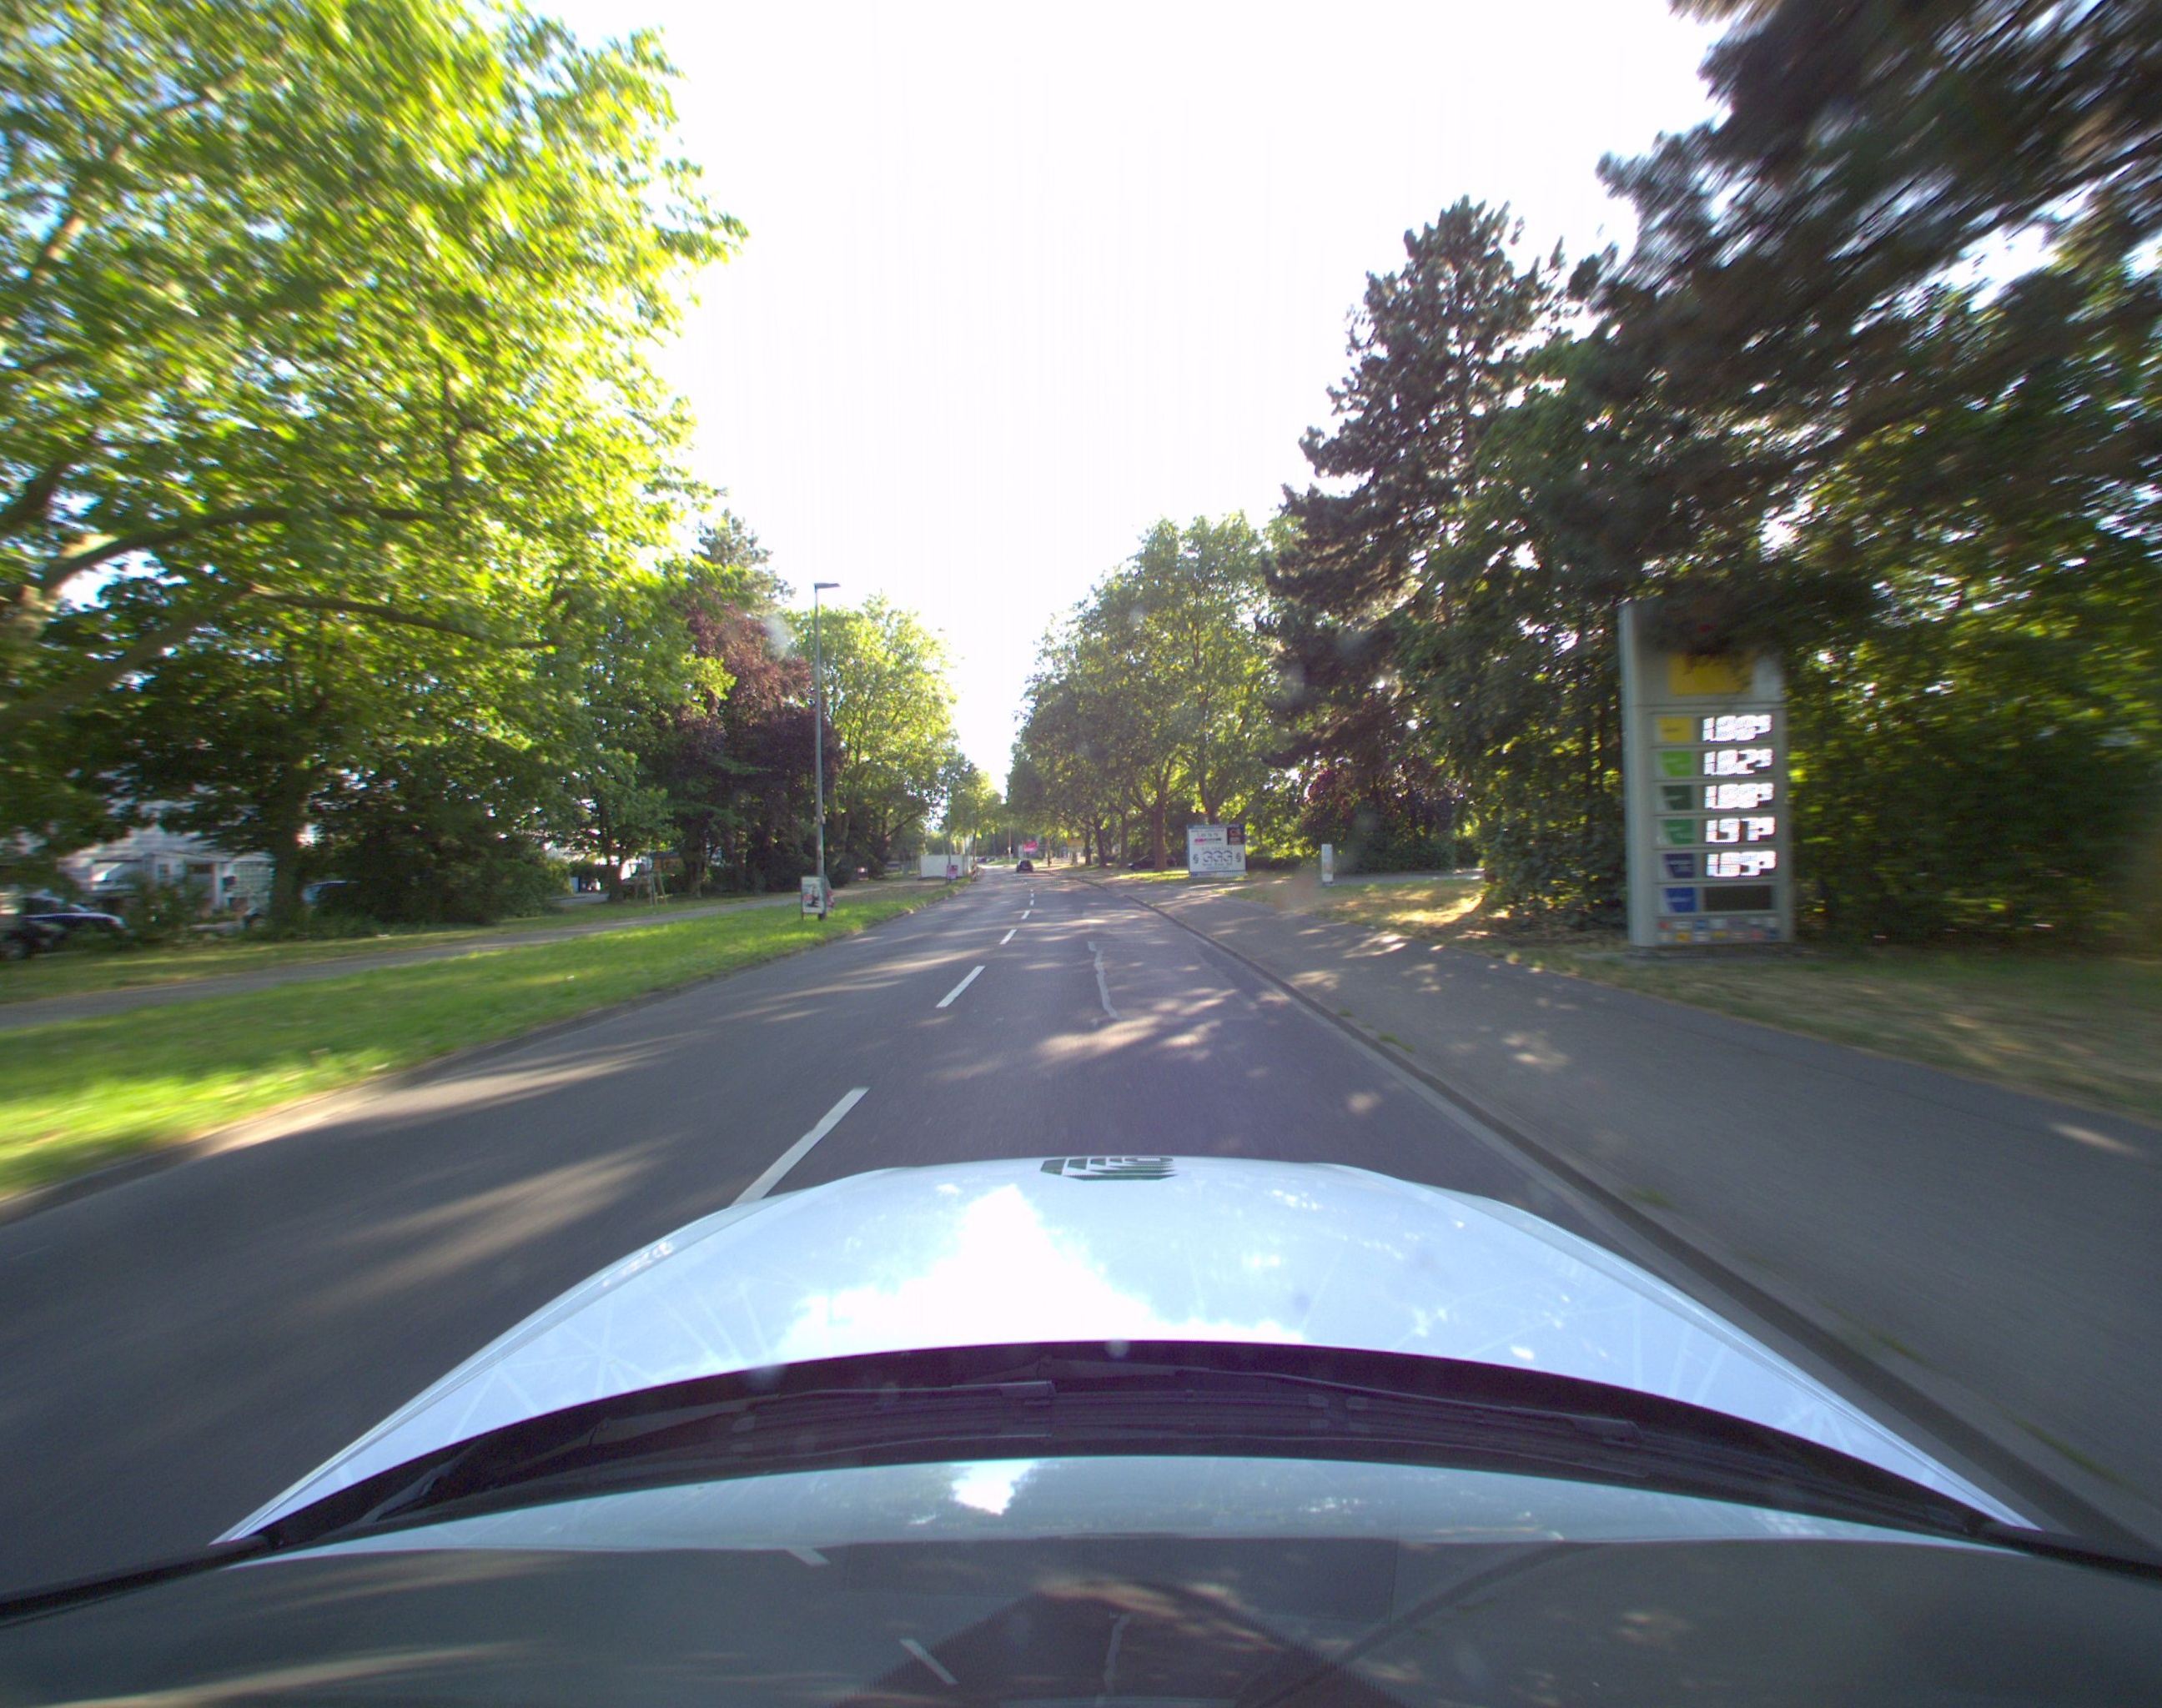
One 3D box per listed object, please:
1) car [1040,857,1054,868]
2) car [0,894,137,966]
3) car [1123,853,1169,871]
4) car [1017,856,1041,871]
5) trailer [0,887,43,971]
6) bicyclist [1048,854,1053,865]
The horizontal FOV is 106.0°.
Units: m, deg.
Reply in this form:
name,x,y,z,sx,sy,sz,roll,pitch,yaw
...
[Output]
name,x,y,z,sx,sy,sz,roll,pitch,yaw
car,-6.914,1.753,166.485,1.981,2.013,4.012,-2,0,10
car,-22.728,1.630,17.280,3.382,1.364,1.516,-2,-1,-6
car,6.014,0.705,75.329,3.979,1.443,1.758,-3,0,-4
car,-5.826,1.060,91.743,1.829,1.605,3.871,-2,-1,8
trailer,-22.384,1.500,14.926,3.977,1.555,1.998,-2,0,-2
bicyclist,-4.690,0.835,124.310,0.650,1.705,0.869,0,-1,-6
